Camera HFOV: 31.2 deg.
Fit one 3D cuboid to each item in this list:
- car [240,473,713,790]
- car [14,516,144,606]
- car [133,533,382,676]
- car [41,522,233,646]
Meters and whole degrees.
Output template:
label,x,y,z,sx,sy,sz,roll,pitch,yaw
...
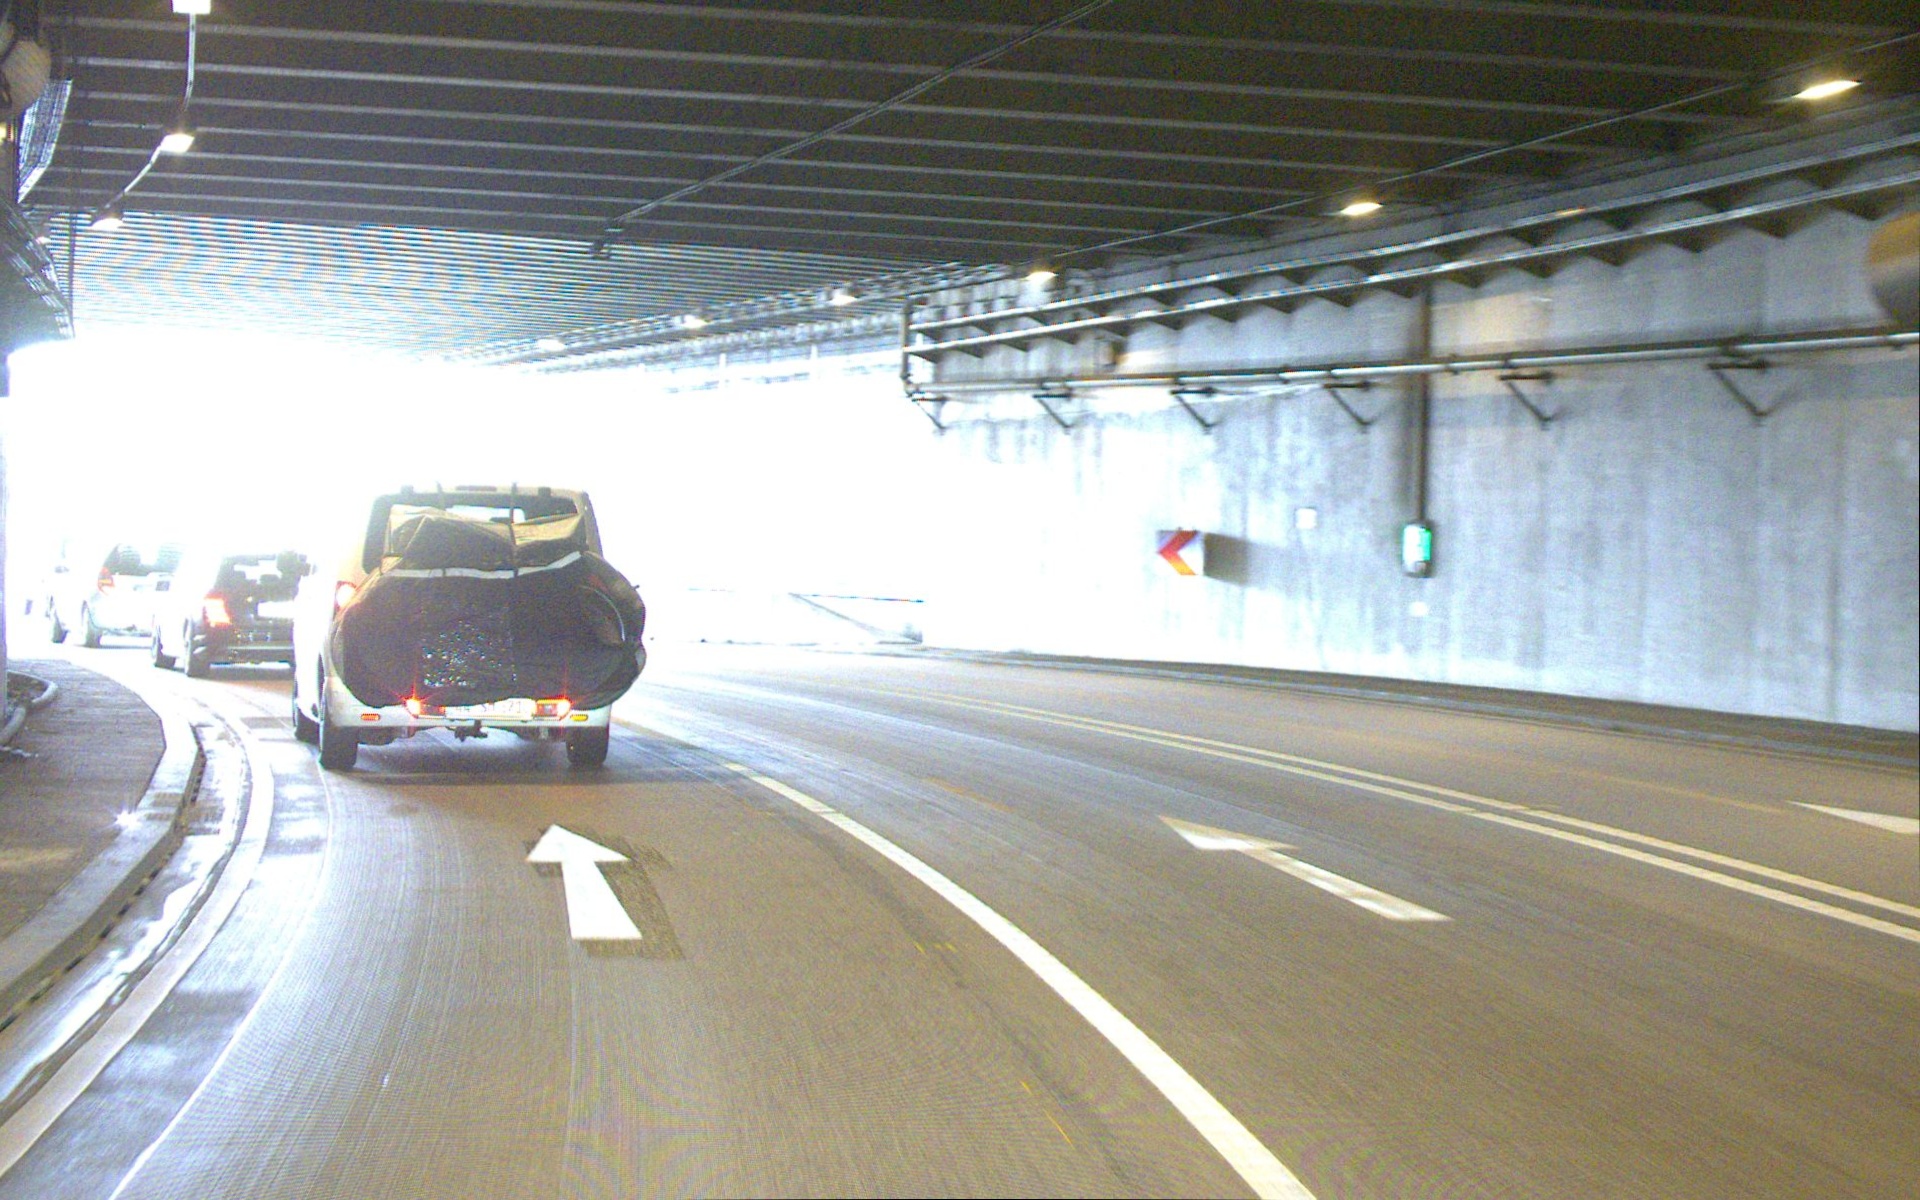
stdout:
label,x,y,z,sx,sy,sz,roll,pitch,yaw
car,-3.423,0.120,23.207,1.992,1.852,5.643,-1,1,-20
car,-17.442,-0.790,67.960,1.993,1.658,4.001,2,1,-21
car,-7.701,0.019,37.423,1.814,1.429,4.066,1,1,-24
car,-11.266,-0.244,46.877,1.920,1.483,4.067,2,1,-22
